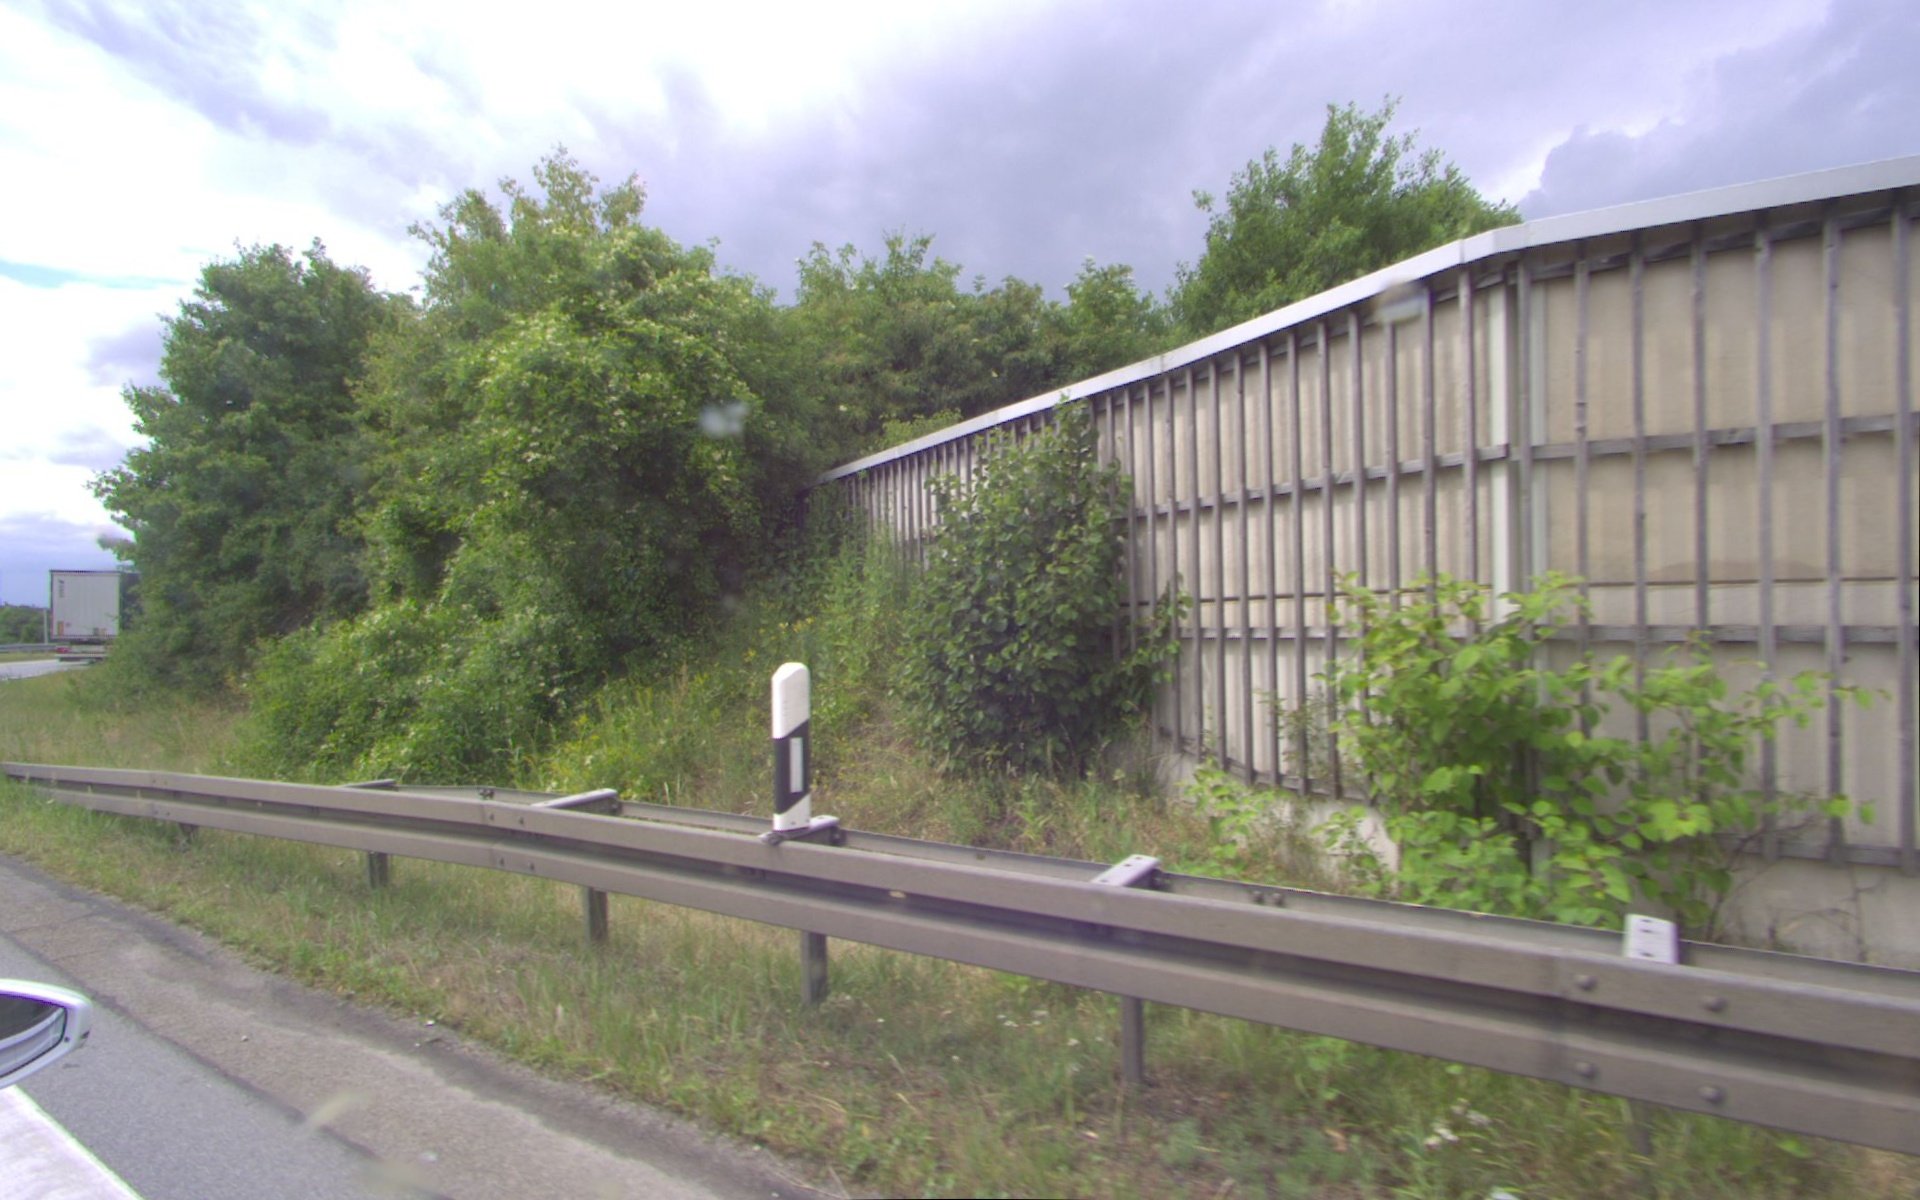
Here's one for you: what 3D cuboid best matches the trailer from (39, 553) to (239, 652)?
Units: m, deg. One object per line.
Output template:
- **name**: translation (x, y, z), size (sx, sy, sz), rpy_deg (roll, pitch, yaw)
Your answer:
- **trailer**: translation (-39.703, 0.275, 49.255), size (3.284, 4.247, 13.004), rpy_deg (0, -1, -19)
